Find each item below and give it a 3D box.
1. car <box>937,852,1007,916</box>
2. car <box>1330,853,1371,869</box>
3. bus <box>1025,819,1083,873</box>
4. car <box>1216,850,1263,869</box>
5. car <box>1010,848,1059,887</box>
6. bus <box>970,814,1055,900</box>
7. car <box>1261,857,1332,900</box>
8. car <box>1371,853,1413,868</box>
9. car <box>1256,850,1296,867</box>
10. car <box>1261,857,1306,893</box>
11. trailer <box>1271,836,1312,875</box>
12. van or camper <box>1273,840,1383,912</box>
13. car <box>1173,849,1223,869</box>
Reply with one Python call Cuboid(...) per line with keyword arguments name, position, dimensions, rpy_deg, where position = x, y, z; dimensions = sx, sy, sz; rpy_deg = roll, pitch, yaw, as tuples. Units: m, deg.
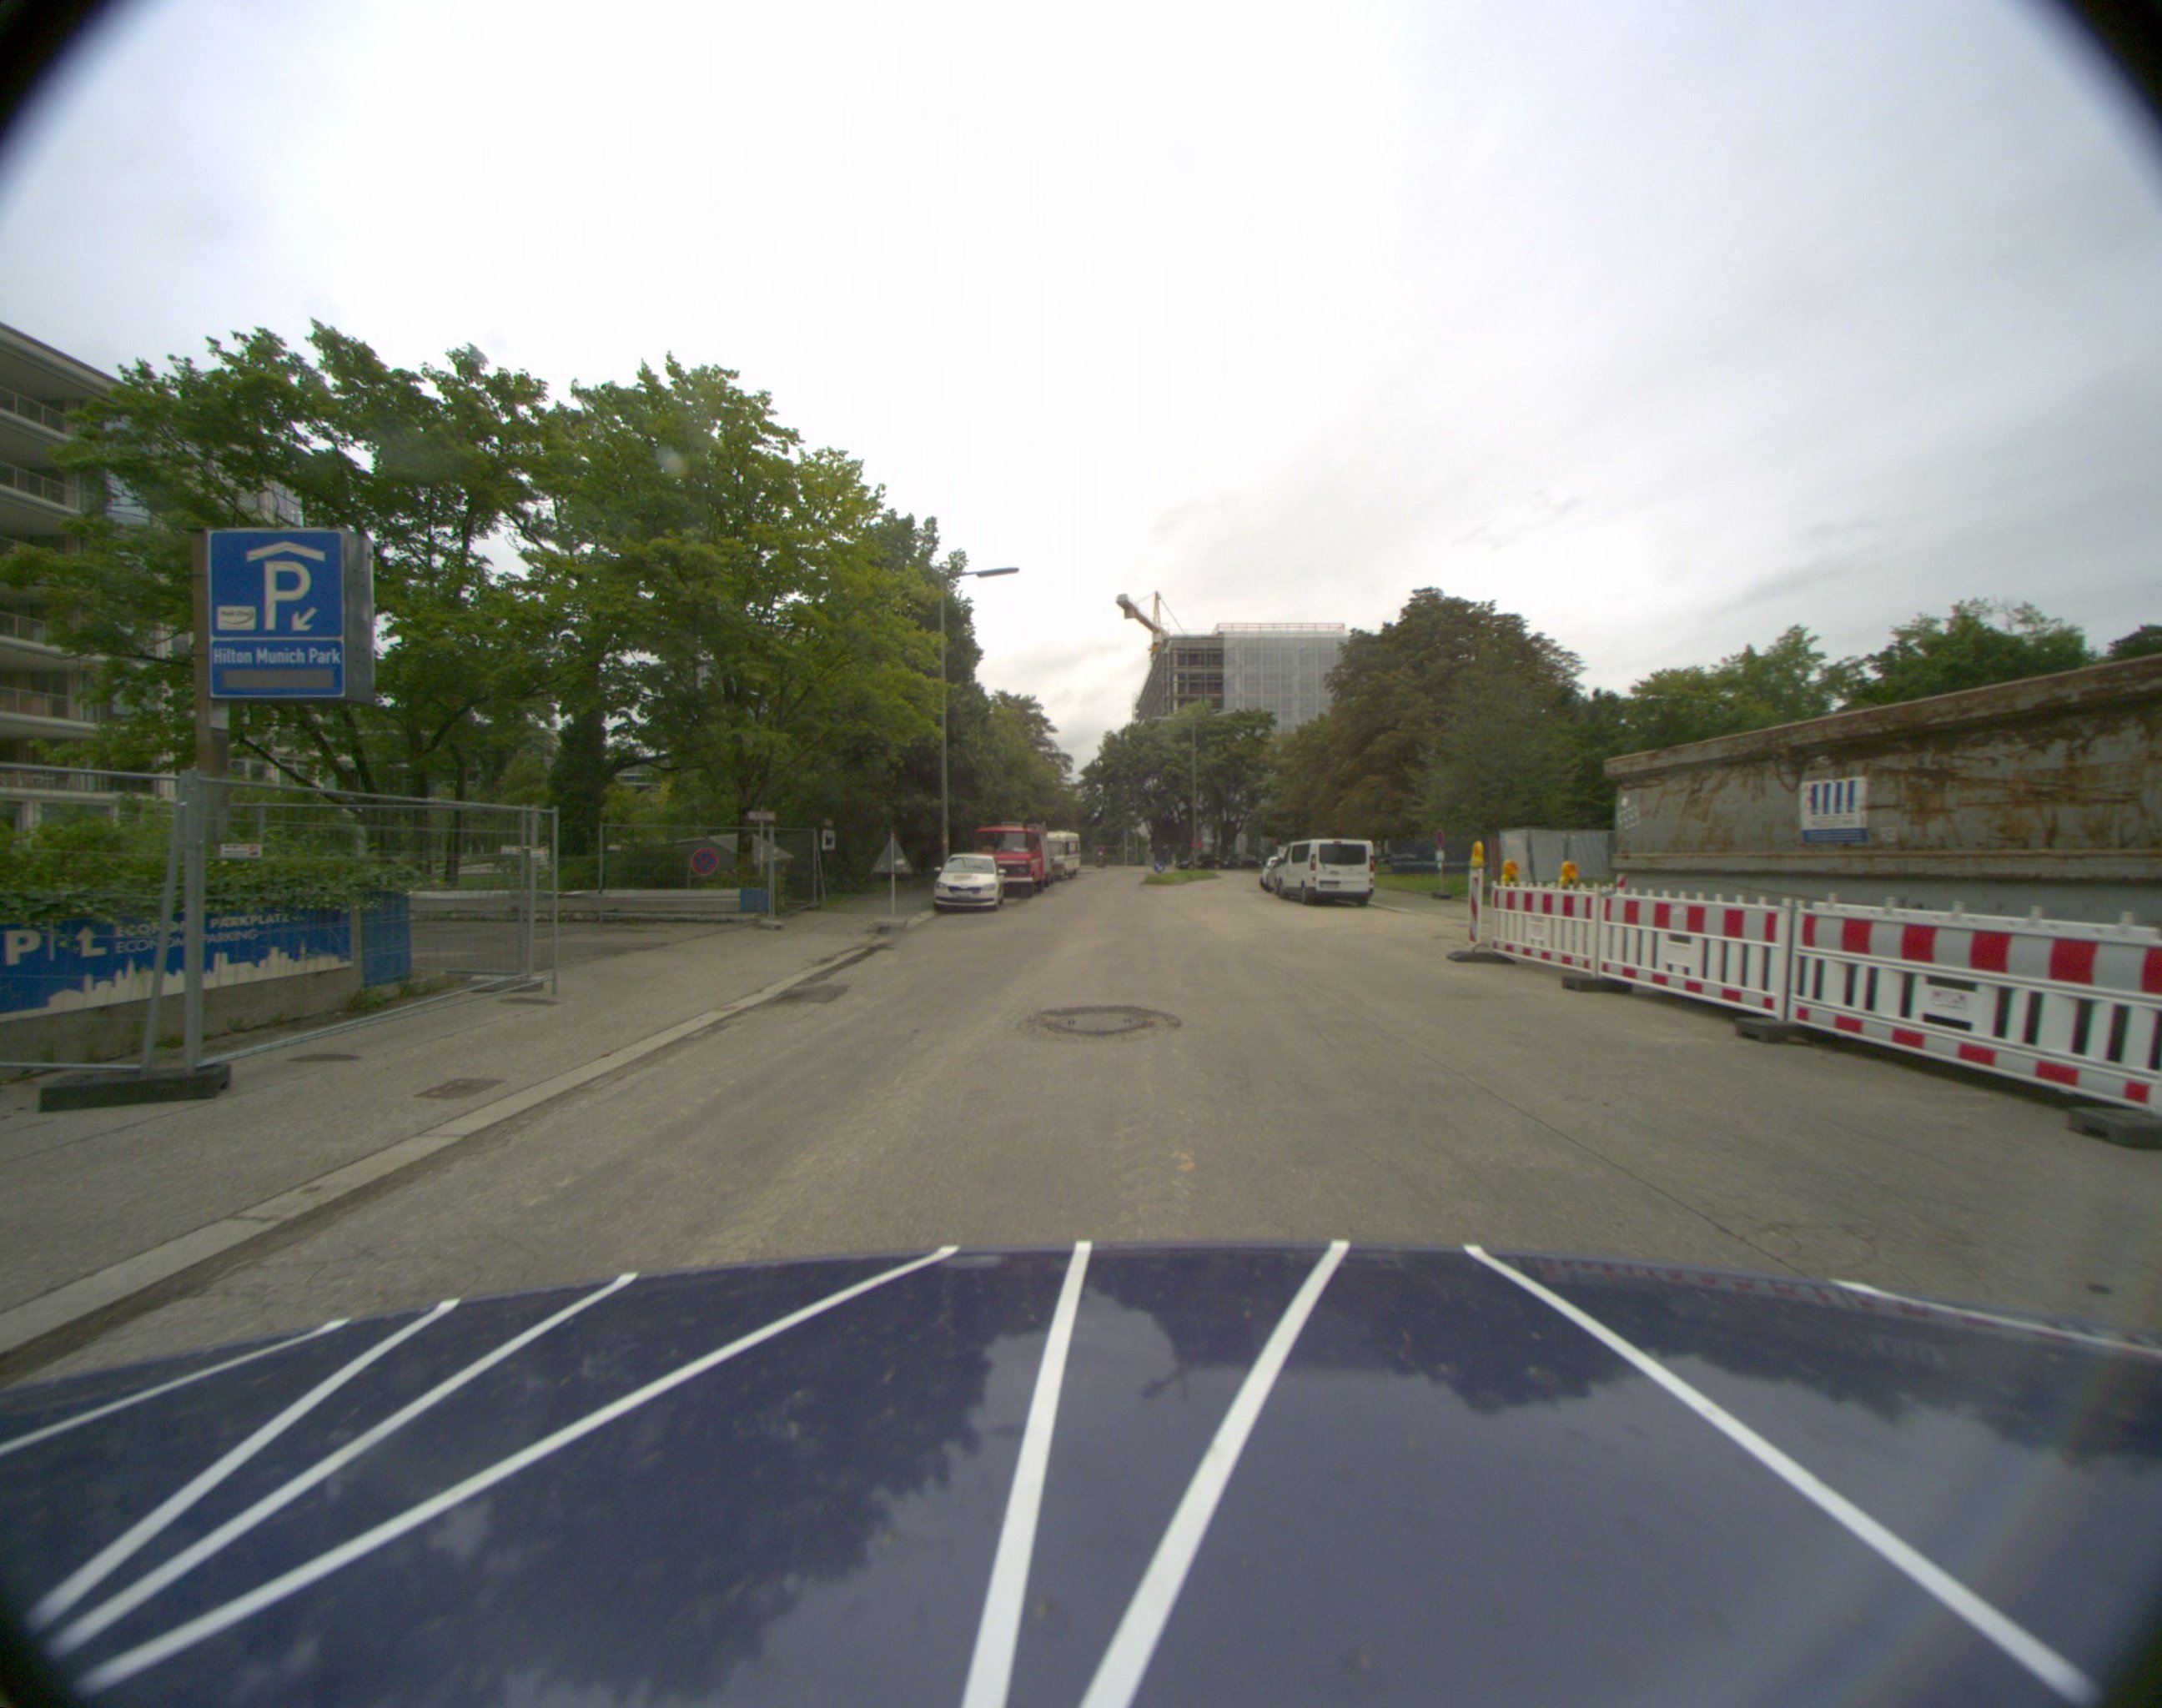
Cuboid(name="car", position=(-2.945, 0.750, 21.160), dimensions=(1.536, 1.484, 4.058), rpy_deg=(0, 2, -3))
Cuboid(name="car", position=(26.370, 0.675, 74.406), dimensions=(3.724, 1.379, 1.517), rpy_deg=(0, 3, -22))
Cuboid(name="bus", position=(-1.390, -0.440, 41.706), dimensions=(2.076, 2.714, 5.870), rpy_deg=(0, 1, 9))
Cuboid(name="car", position=(14.179, 0.456, 68.076), dimensions=(3.892, 1.564, 1.785), rpy_deg=(-1, 3, -28))
Cuboid(name="car", position=(-2.032, 0.557, 34.307), dimensions=(1.782, 1.630, 4.398), rpy_deg=(0, 0, 2))
Cuboid(name="bus", position=(-2.320, 0.058, 27.786), dimensions=(2.077, 2.789, 6.273), rpy_deg=(0, 1, 4))
Cuboid(name="car", position=(8.389, 0.911, 29.964), dimensions=(1.997, 1.450, 4.121), rpy_deg=(2, 1, 6))
Cuboid(name="car", position=(31.121, 0.635, 75.962), dimensions=(3.722, 1.379, 1.518), rpy_deg=(0, 2, -15))
Cuboid(name="car", position=(18.086, 0.404, 70.434), dimensions=(3.267, 1.564, 1.656), rpy_deg=(0, 3, -22))
Cuboid(name="car", position=(9.142, 0.910, 34.505), dimensions=(1.739, 1.450, 4.034), rpy_deg=(2, 1, 12))
Cuboid(name="trailer", position=(12.264, 0.072, 44.143), dimensions=(1.778, 2.169, 2.781), rpy_deg=(2, 2, 26))
Cuboid(name="van or camper", position=(7.726, 0.611, 24.401), dimensions=(1.993, 2.022, 5.587), rpy_deg=(1, 0, 3))
Cuboid(name="car", position=(10.186, 0.407, 66.127), dimensions=(3.891, 1.564, 1.786), rpy_deg=(-1, 3, -23))
